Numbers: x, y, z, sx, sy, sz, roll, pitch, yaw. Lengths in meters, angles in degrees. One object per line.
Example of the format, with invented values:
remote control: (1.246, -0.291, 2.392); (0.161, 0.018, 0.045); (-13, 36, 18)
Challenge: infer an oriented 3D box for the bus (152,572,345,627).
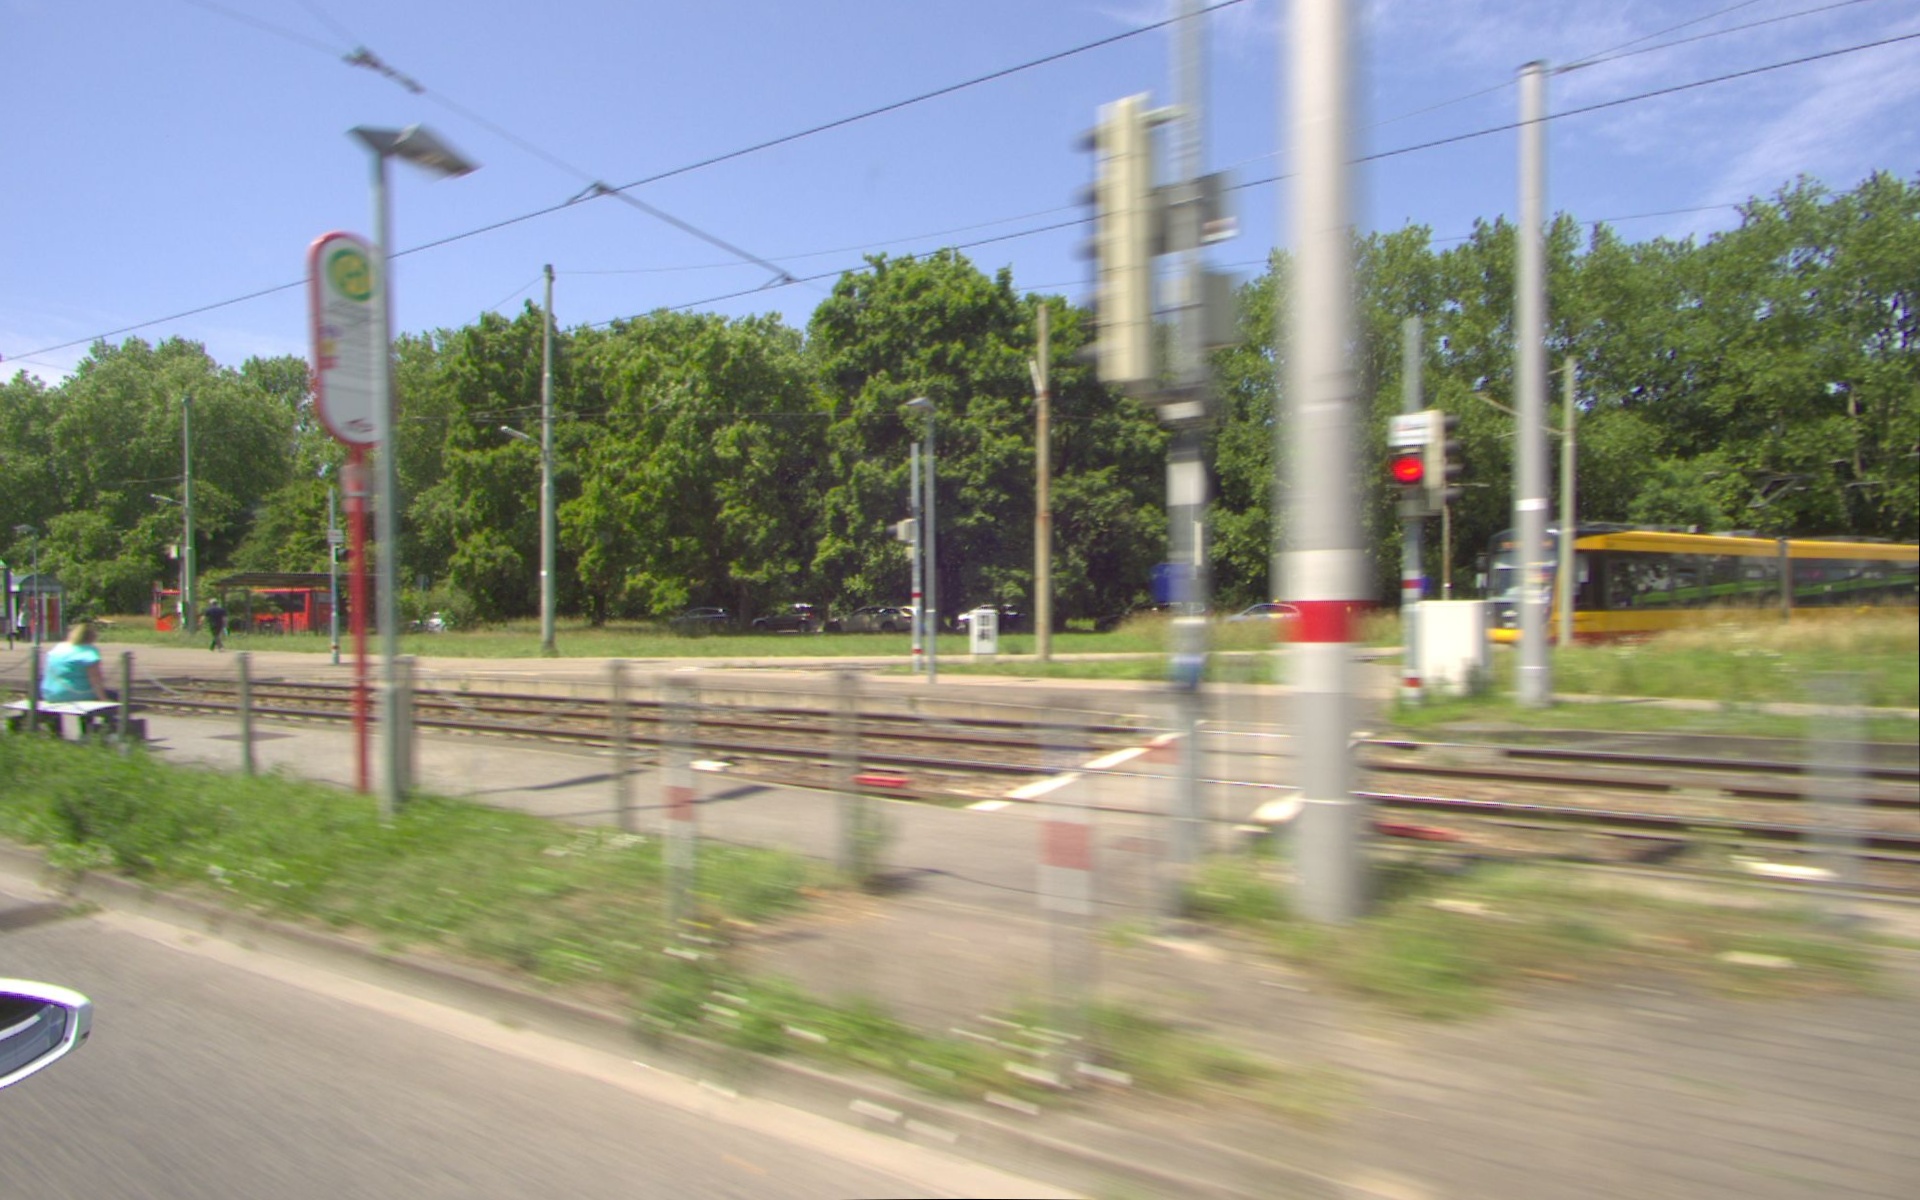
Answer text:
bus: (-47.173, 0.047, 66.452); (12.209, 3.482, 2.768); (-1, -1, 11)

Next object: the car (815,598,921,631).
car: (-4.688, 0.715, 51.301); (4.961, 1.633, 2.123); (0, 0, 13)

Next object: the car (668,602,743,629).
car: (-15.224, 0.926, 60.028); (3.924, 1.531, 1.886); (0, 0, 11)

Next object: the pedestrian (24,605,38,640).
pedestrian: (-42.757, 1.040, 46.088); (0.604, 1.617, 0.359); (-1, -1, 35)

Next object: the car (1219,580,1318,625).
car: (14.518, 0.110, 47.314); (4.232, 2.040, 1.957); (0, 1, 8)

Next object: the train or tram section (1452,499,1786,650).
train or tram section: (19.471, -0.467, 29.038); (13.000, 3.695, 2.702); (1, -2, -31)

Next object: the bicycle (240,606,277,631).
bicycle: (-32.980, 0.859, 47.061); (2.158, 1.102, 0.596); (2, 2, 31)

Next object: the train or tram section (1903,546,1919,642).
train or tram section: (42.748, -0.274, 37.739); (12.997, 3.622, 2.714); (0, 1, -6)

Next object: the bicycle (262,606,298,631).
bicycle: (-32.516, 0.891, 47.851); (2.158, 1.102, 0.596); (2, 2, 31)

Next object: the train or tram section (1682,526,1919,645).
train or tram section: (30.868, -0.337, 34.899); (13.032, 3.695, 2.708); (1, -2, -22)

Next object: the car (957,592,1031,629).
car: (1.971, 0.598, 56.951); (3.925, 2.040, 1.998); (0, 0, 12)

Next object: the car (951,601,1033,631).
car: (1.632, 0.788, 49.812); (3.869, 1.442, 1.957); (0, 0, 8)

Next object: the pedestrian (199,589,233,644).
pedestrian: (-24.676, 0.541, 33.208); (0.648, 1.788, 0.704); (0, 1, 32)

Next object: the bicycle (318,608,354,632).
bicycle: (-31.176, 0.969, 50.021); (2.158, 1.102, 0.596); (2, 2, 31)

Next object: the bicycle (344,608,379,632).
bicycle: (-30.469, 1.001, 50.956); (2.158, 1.102, 0.596); (2, 2, 31)

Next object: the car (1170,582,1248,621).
car: (13.512, 0.117, 54.594); (3.923, 2.039, 2.000); (0, -2, 8)

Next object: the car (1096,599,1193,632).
car: (8.854, 0.726, 48.340); (4.526, 1.560, 1.704); (0, 1, 8)

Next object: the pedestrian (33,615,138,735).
pedestrian: (-8.663, 0.727, 9.929); (0.612, 1.143, 0.609); (-1, -1, 29)

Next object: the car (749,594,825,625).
car: (-10.167, 0.550, 59.041); (3.924, 1.795, 1.999); (0, 1, 10)
